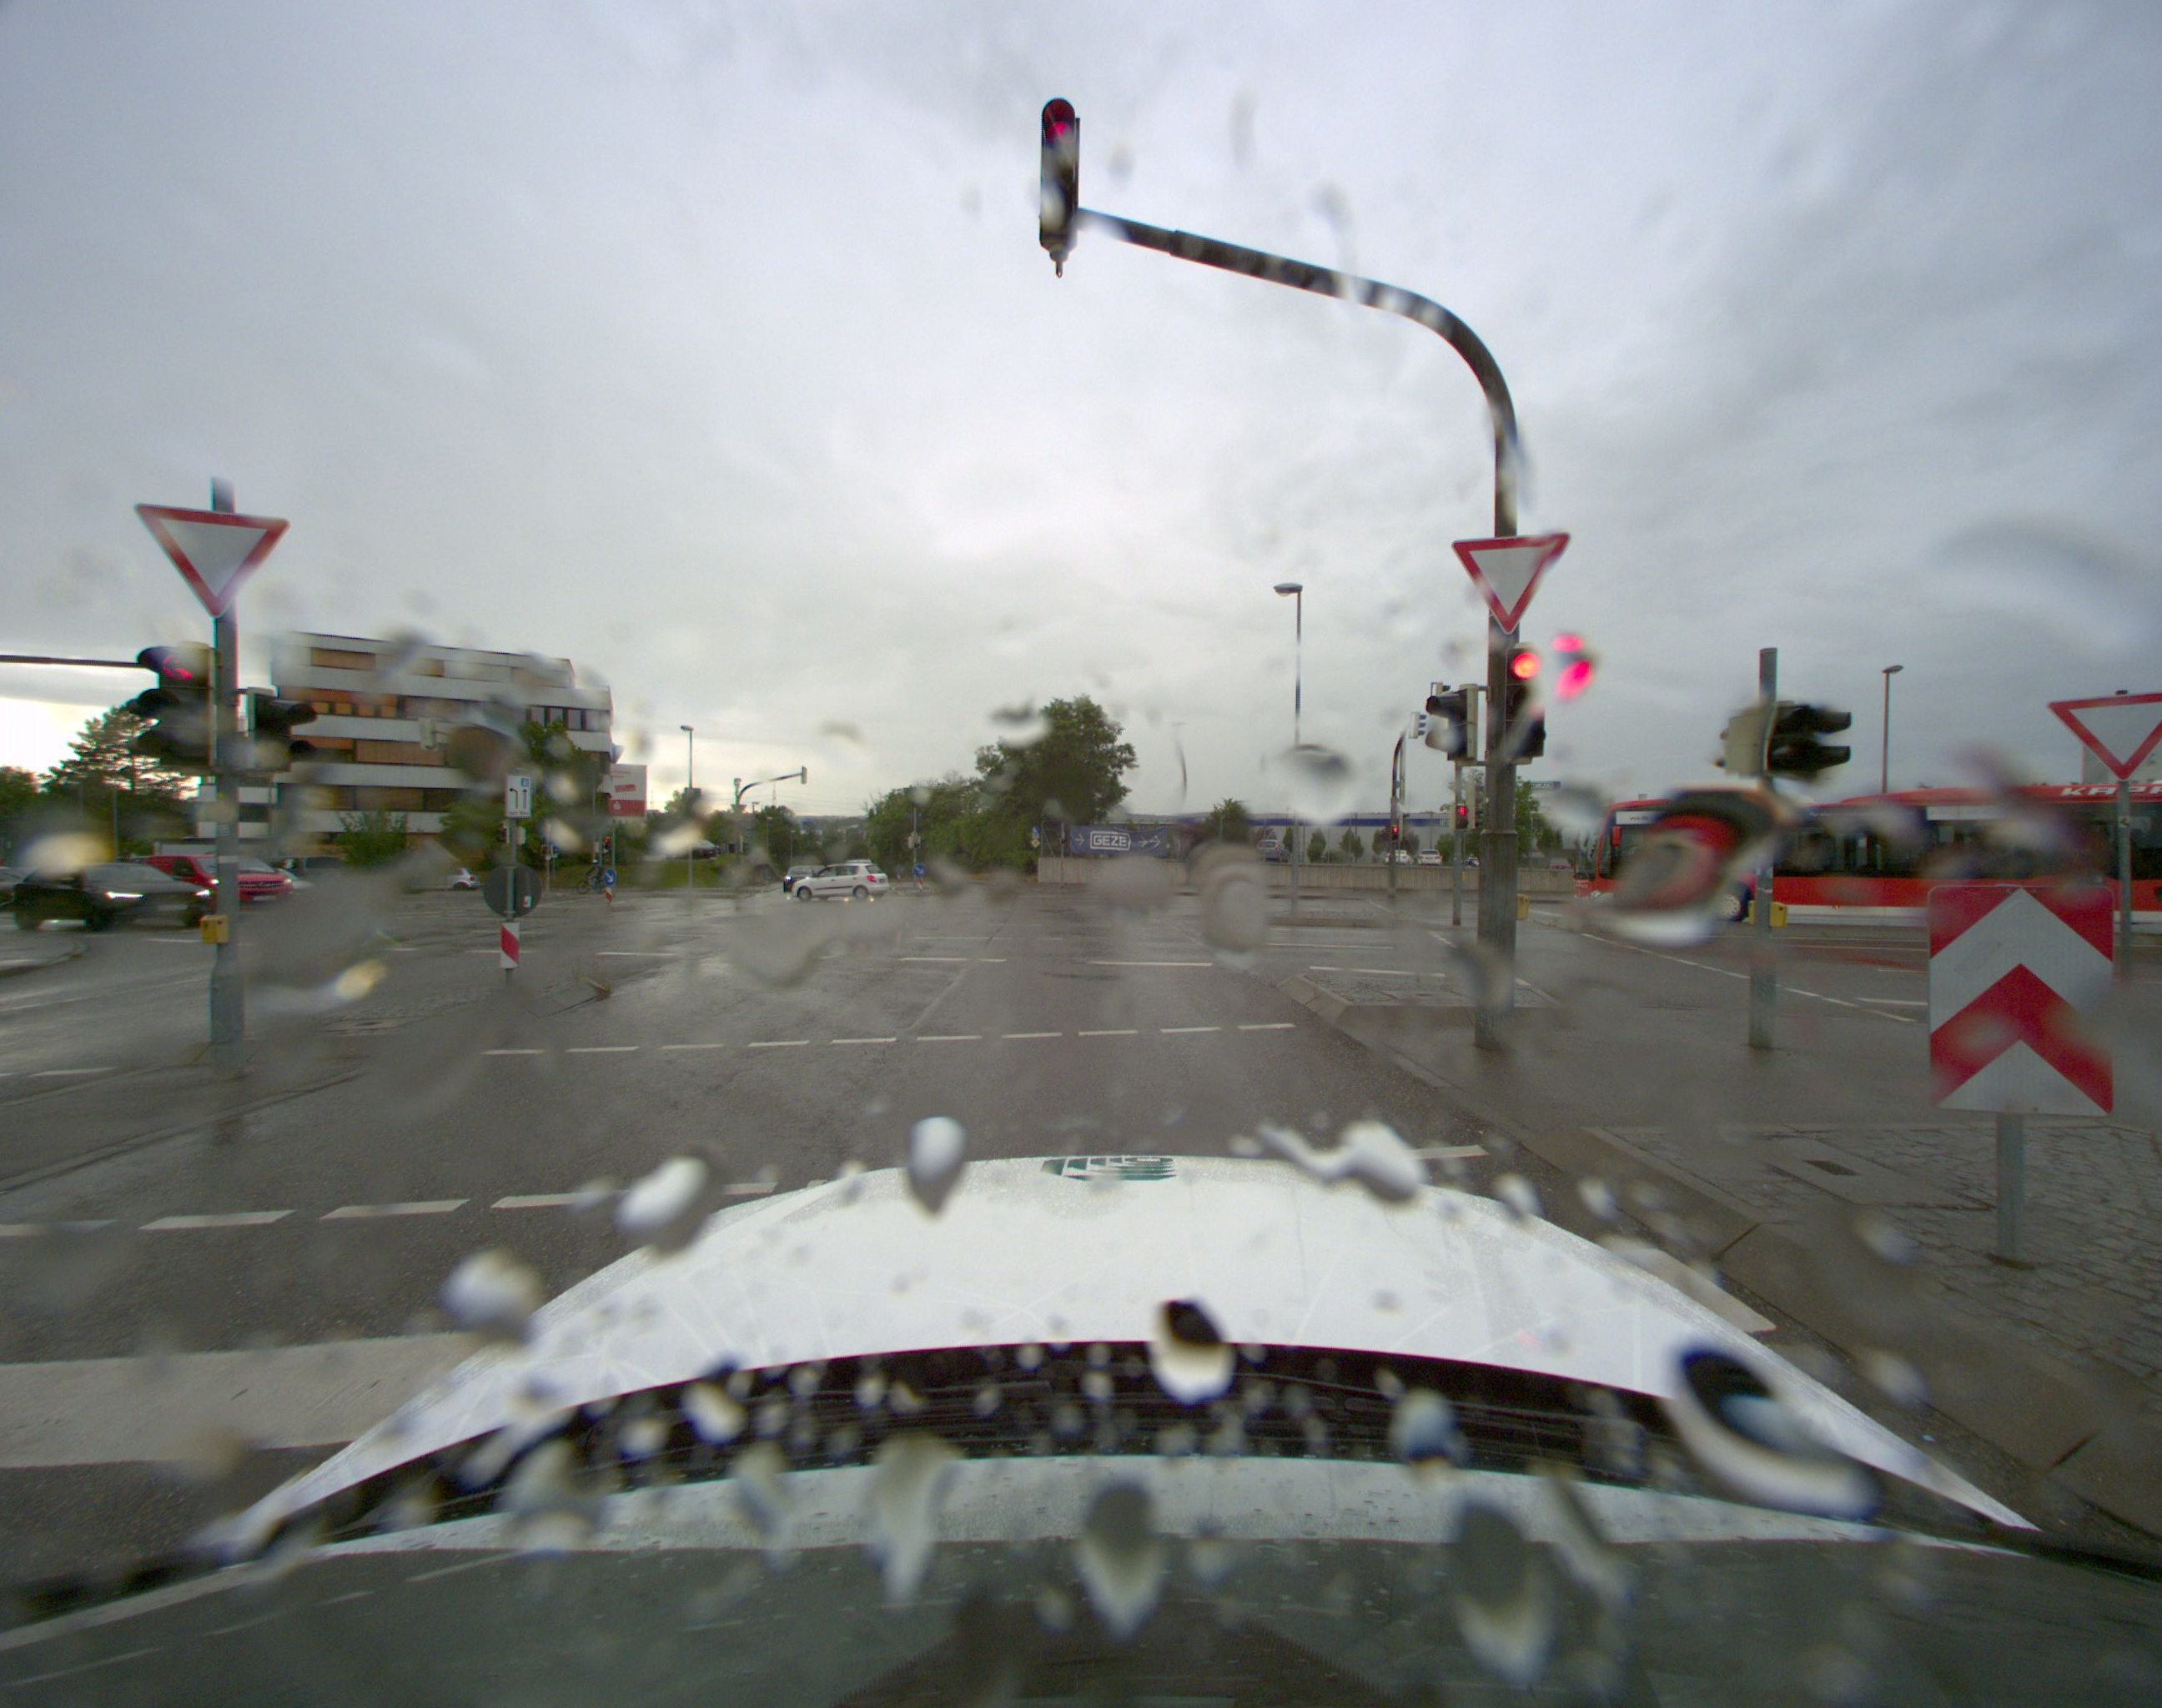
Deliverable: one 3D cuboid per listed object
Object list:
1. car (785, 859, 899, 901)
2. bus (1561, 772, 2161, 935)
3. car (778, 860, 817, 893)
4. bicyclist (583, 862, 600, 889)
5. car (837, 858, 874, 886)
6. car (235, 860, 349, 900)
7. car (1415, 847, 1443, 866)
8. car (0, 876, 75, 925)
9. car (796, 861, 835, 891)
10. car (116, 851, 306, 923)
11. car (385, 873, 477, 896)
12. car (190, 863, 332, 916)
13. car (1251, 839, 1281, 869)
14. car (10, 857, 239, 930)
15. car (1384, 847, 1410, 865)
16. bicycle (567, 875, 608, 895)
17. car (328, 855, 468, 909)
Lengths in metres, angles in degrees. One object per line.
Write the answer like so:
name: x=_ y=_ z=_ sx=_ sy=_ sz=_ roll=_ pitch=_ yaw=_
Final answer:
car: x=-9.734 y=1.043 z=33.312 sx=3.960 sy=1.596 sz=1.964 roll=0 pitch=0 yaw=12
bus: x=18.693 y=-0.095 z=19.332 sx=12.176 sy=3.321 sz=3.090 roll=1 pitch=0 yaw=19
car: x=-16.906 y=1.297 z=48.741 sx=1.998 sy=1.895 sz=3.978 roll=0 pitch=0 yaw=-16
bicyclist: x=-26.132 y=1.136 z=43.494 sx=0.542 sy=1.446 sz=0.602 roll=0 pitch=0 yaw=-5
car: x=-13.685 y=1.069 z=49.607 sx=1.995 sy=1.618 sz=3.983 roll=0 pitch=0 yaw=-13
car: x=-38.524 y=1.226 z=39.805 sx=3.962 sy=1.849 sz=2.006 roll=0 pitch=0 yaw=10
car: x=28.681 y=0.169 z=67.169 sx=1.976 sy=1.478 sz=4.021 roll=0 pitch=0 yaw=21
car: x=-37.032 y=1.565 z=27.800 sx=4.620 sy=1.476 sz=2.010 roll=0 pitch=0 yaw=20
car: x=-18.207 y=1.474 z=56.045 sx=1.994 sy=1.895 sz=3.986 roll=0 pitch=0 yaw=-10
car: x=-26.096 y=0.924 z=24.457 sx=4.734 sy=2.013 sz=2.009 roll=0 pitch=0 yaw=17
car: x=-35.044 y=1.637 z=44.021 sx=3.522 sy=1.105 sz=1.805 roll=0 pitch=0 yaw=-26
car: x=-28.395 y=1.170 z=28.219 sx=3.953 sy=1.684 sz=2.010 roll=0 pitch=0 yaw=21
car: x=13.090 y=-0.020 z=57.545 sx=1.979 sy=2.013 sz=4.015 roll=0 pitch=0 yaw=13
car: x=-24.192 y=0.967 z=20.637 sx=4.581 sy=1.679 sz=2.043 roll=-1 pitch=0 yaw=16
car: x=26.375 y=0.161 z=67.848 sx=1.976 sy=1.478 sz=4.021 roll=0 pitch=0 yaw=22
bicycle: x=-26.344 y=1.635 z=43.471 sx=1.771 sy=1.052 sz=0.609 roll=0 pitch=0 yaw=-5
car: x=-24.918 y=0.972 z=29.752 sx=4.108 sy=1.840 sz=2.009 roll=0 pitch=0 yaw=17
